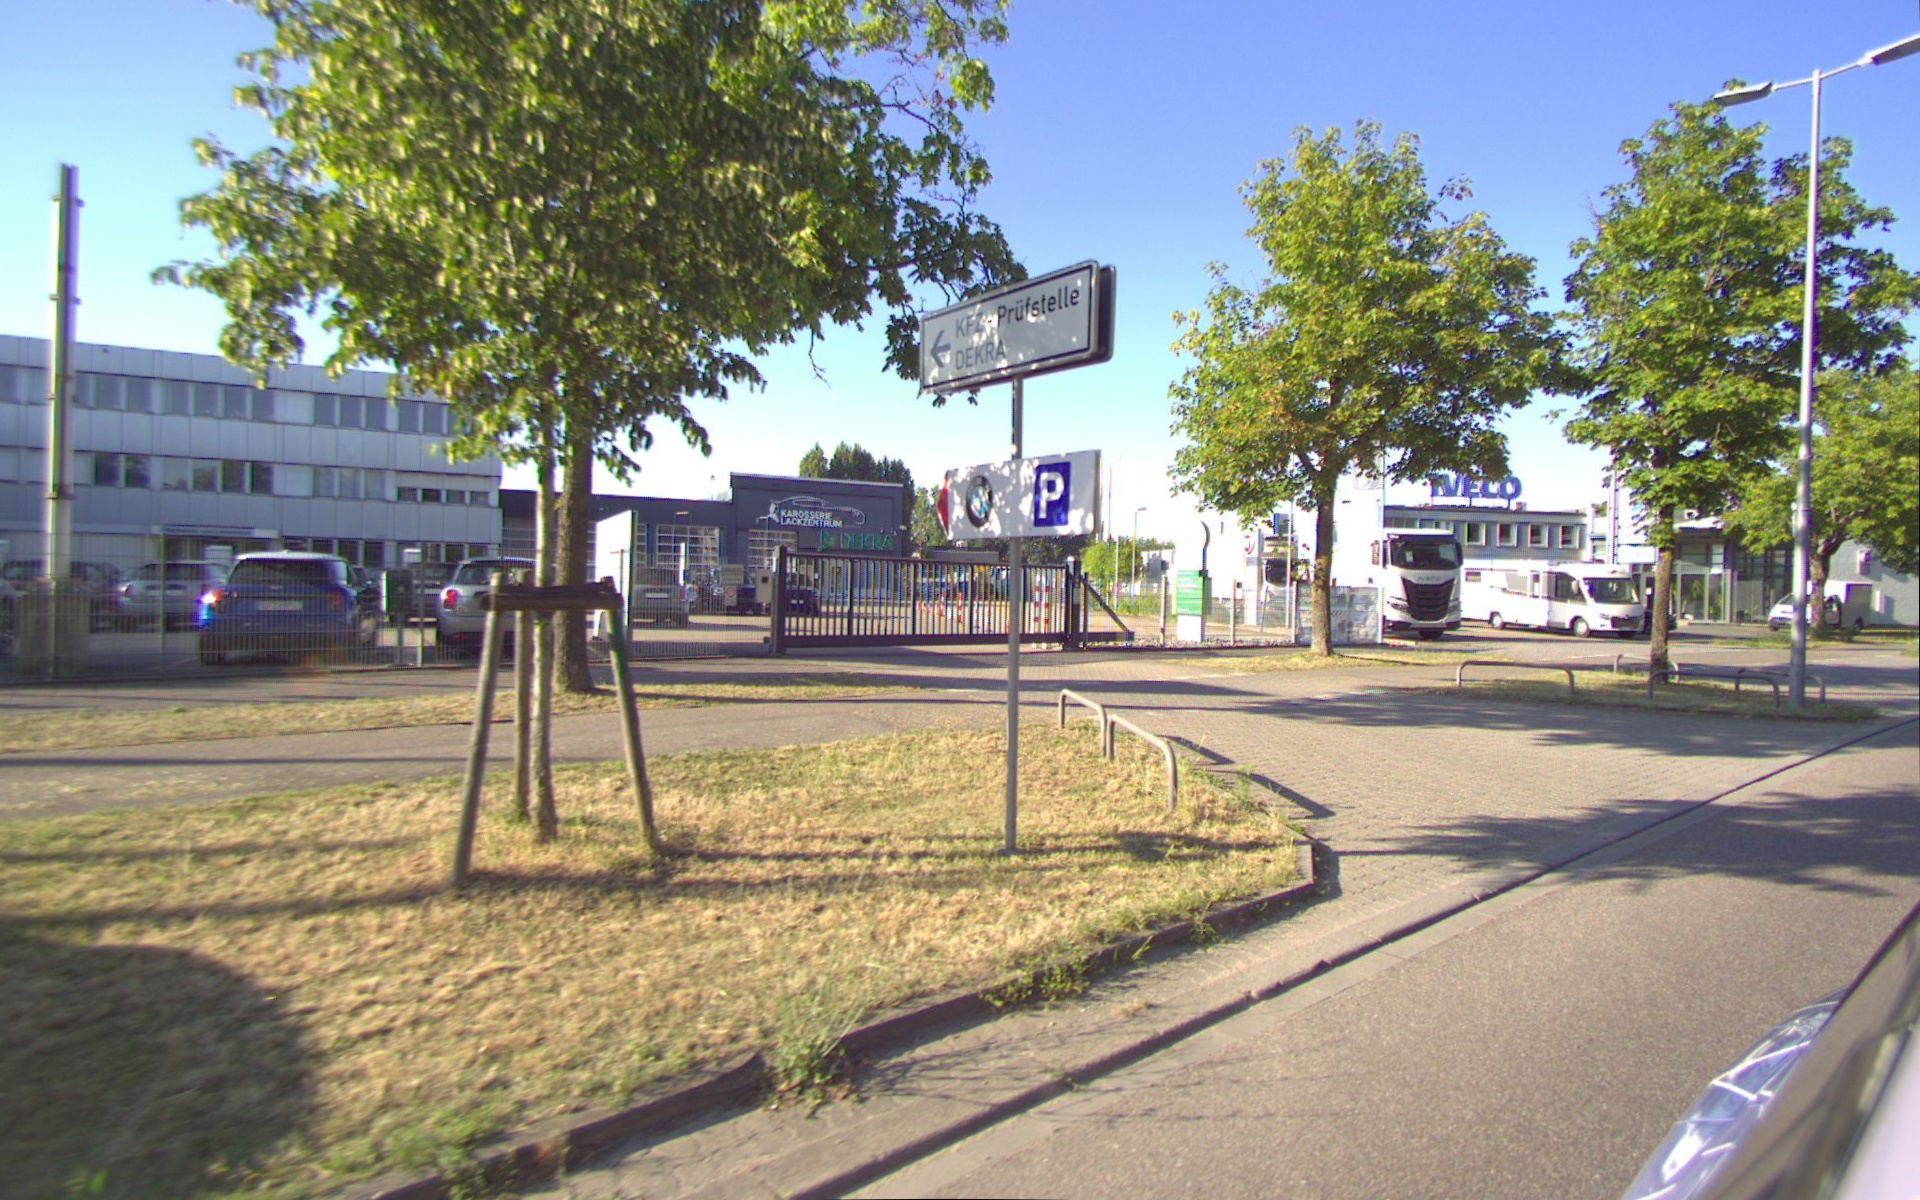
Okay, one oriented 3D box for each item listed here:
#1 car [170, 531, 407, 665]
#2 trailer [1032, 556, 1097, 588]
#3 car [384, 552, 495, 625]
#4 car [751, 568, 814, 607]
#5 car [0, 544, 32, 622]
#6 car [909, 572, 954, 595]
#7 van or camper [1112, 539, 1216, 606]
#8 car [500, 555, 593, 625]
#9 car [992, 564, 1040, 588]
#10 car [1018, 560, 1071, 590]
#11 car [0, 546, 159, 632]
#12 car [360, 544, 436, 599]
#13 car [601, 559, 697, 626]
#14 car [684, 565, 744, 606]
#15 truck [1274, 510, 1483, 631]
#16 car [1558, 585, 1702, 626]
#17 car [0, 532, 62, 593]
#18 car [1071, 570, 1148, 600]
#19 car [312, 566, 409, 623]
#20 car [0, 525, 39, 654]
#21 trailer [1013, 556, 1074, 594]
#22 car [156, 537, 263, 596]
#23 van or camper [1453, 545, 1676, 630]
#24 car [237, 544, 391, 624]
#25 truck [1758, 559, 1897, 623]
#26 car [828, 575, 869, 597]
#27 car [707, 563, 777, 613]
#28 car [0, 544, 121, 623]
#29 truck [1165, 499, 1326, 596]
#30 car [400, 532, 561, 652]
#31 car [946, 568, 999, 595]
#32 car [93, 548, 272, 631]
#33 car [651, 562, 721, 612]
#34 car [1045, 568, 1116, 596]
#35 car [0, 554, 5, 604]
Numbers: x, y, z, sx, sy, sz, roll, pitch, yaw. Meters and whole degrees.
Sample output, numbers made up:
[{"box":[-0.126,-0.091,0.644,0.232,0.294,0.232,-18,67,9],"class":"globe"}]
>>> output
[{"box":[-9.235,-0.077,14.315,1.958,1.598,4.009,1,1,-21],"class":"car"},{"box":[8.301,-2.236,80.899,4.758,2.467,2.003,1,1,-9],"class":"trailer"},{"box":[-12.065,-0.300,23.687,1.884,1.549,4.009,1,1,-21],"class":"car"},{"box":[-7.554,-0.551,42.823,1.809,1.492,4.009,3,1,-21],"class":"car"},{"box":[-20.529,-0.304,19.925,1.958,1.598,4.009,-2,2,-21],"class":"car"},{"box":[-2.632,-1.520,92.772,3.918,2.039,2.004,1,1,-9],"class":"car"},{"box":[11.132,-1.520,56.159,2.364,3.370,8.156,1,1,-13],"class":"van or camper"},{"box":[-9.958,-0.273,24.489,1.884,1.549,4.009,1,1,-21],"class":"car"},{"box":[5.065,-2.169,91.964,3.917,2.039,2.004,1,1,-9],"class":"car"},{"box":[6.903,-2.021,83.007,3.918,2.306,2.092,1,1,-9],"class":"car"},{"box":[-18.490,-0.270,20.870,1.958,1.598,4.009,-2,2,-21],"class":"car"},{"box":[-19.592,-1.007,35.446,1.958,1.762,4.008,1,1,-24],"class":"car"},{"box":[-7.955,-0.225,25.637,1.884,1.549,4.008,1,1,-23],"class":"car"},{"box":[-10.051,-0.618,41.133,1.809,1.492,4.009,3,1,-21],"class":"car"},{"box":[13.821,-0.979,34.421,3.053,3.566,8.262,1,1,-4],"class":"truck"},{"box":[27.967,0.193,42.338,4.795,1.510,1.970,3,2,42],"class":"car"},{"box":[-29.252,-1.155,30.658,1.958,1.762,4.008,1,1,-24],"class":"car"},{"box":[10.547,-1.032,71.458,4.947,2.040,2.003,0,-2,-10],"class":"car"},{"box":[-18.432,-0.237,31.291,1.865,1.598,4.009,-2,2,-21],"class":"car"},{"box":[-12.456,-0.112,11.251,1.958,1.598,4.009,1,1,-21],"class":"car"},{"box":[7.059,-2.126,86.256,4.758,3.107,2.003,1,1,-9],"class":"trailer"},{"box":[-24.302,-1.083,32.925,1.958,1.762,4.008,1,1,-24],"class":"car"},{"box":[23.195,-0.543,39.522,2.882,2.936,8.026,1,1,-9],"class":"van or camper"},{"box":[-14.330,-0.398,22.724,2.115,1.598,4.009,-2,2,-21],"class":"car"},{"box":[40.437,-0.411,47.172,5.847,2.754,2.552,1,1,-24],"class":"truck"},{"box":[-10.989,-1.406,99.817,3.918,2.039,2.004,1,1,-9],"class":"car"},{"box":[-7.870,-0.465,36.357,1.809,1.598,4.009,3,1,-21],"class":"car"},{"box":[-22.053,-0.433,24.060,1.958,1.598,4.009,6,0,-21],"class":"car"},{"box":[12.090,-2.153,44.251,3.229,3.689,10.132,1,1,-5],"class":"truck"},{"box":[-7.268,-0.155,15.711,1.958,1.598,4.009,1,1,-21],"class":"car"},{"box":[0.960,-1.519,81.158,3.918,2.039,2.004,1,1,-9],"class":"car"},{"box":[-16.559,-0.285,21.812,1.958,1.598,4.009,-2,2,-21],"class":"car"},{"box":[-9.657,-0.511,35.525,1.958,1.598,4.009,-2,2,-21],"class":"car"},{"box":[9.152,-1.359,76.809,4.947,2.040,2.003,0,-2,-10],"class":"car"},{"box":[-24.170,-0.364,23.110,1.958,1.598,4.009,6,0,-21],"class":"car"}]
